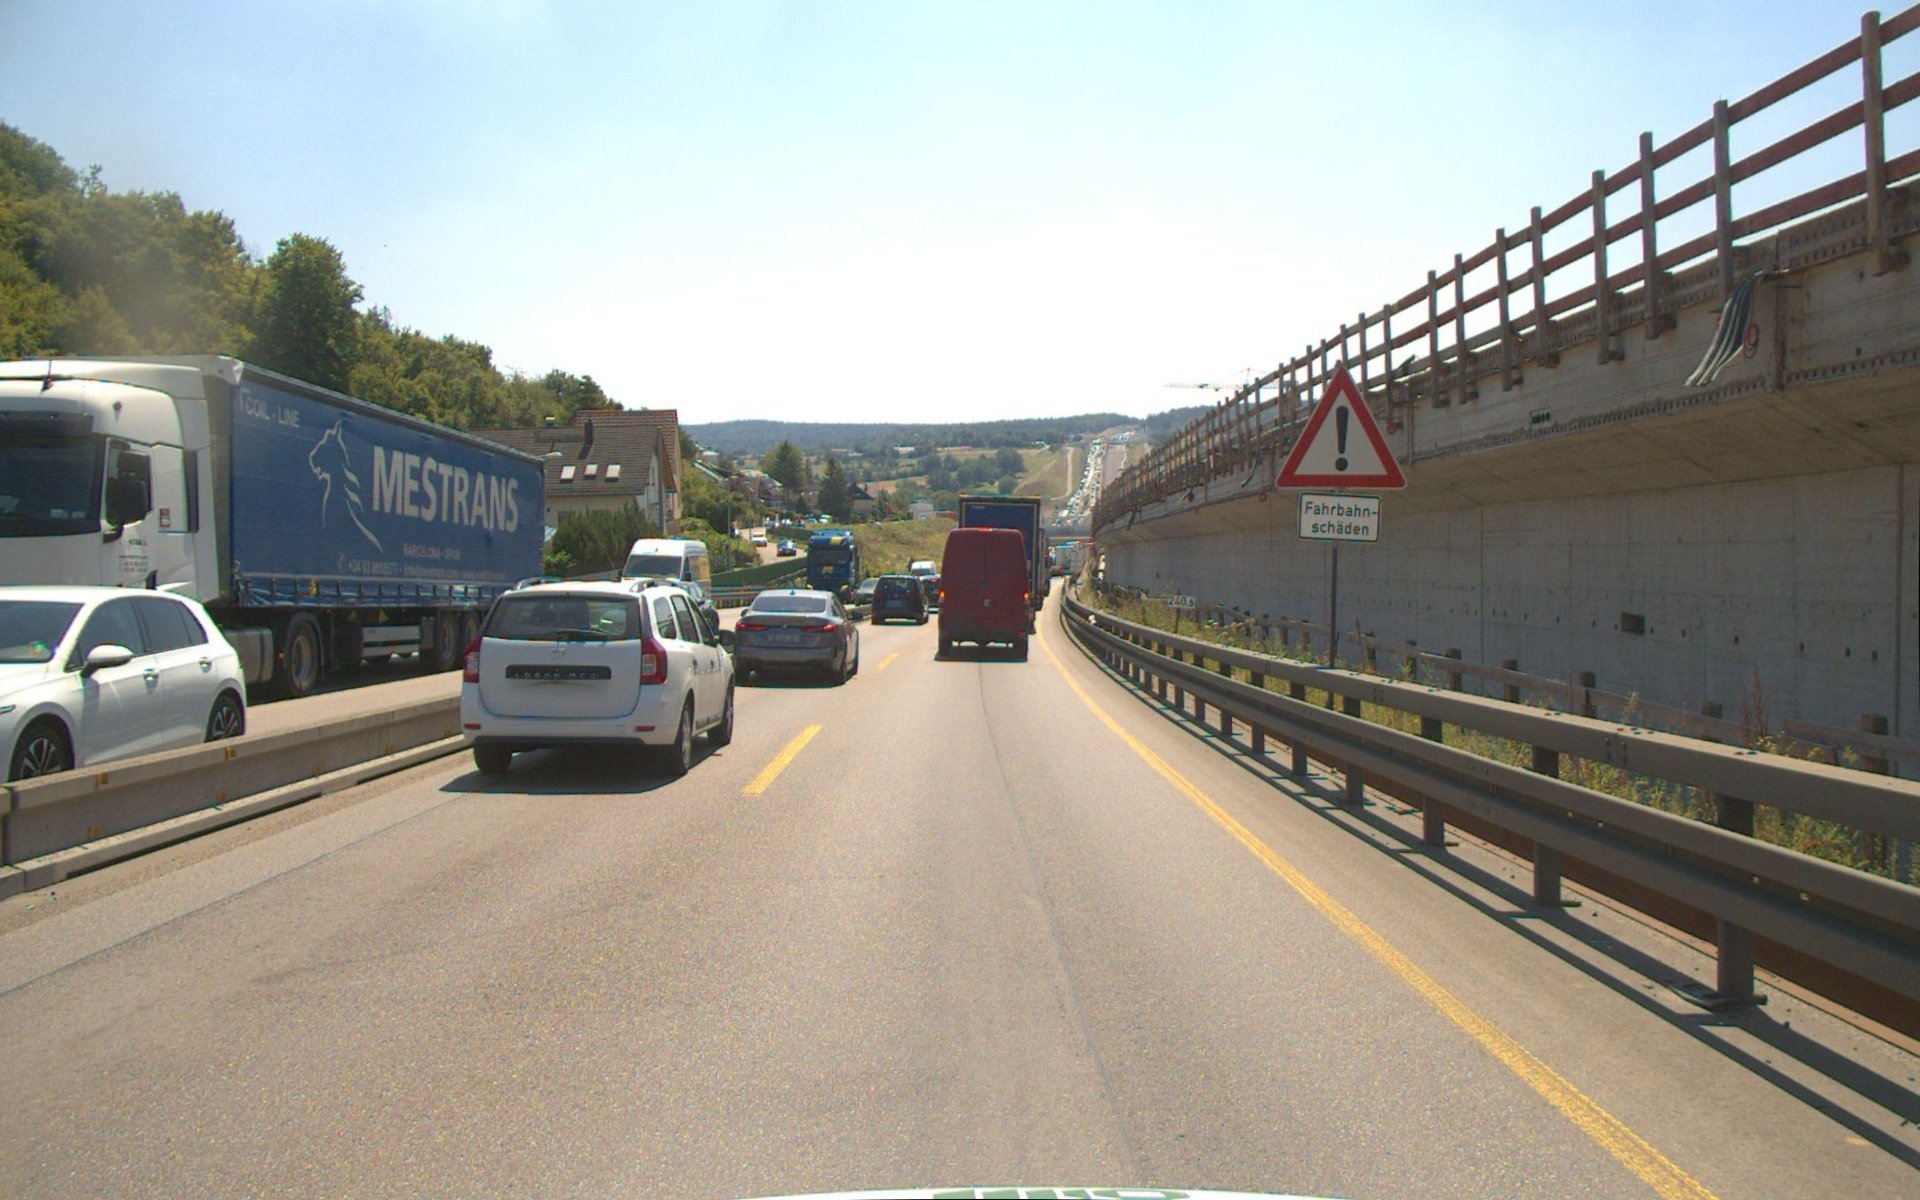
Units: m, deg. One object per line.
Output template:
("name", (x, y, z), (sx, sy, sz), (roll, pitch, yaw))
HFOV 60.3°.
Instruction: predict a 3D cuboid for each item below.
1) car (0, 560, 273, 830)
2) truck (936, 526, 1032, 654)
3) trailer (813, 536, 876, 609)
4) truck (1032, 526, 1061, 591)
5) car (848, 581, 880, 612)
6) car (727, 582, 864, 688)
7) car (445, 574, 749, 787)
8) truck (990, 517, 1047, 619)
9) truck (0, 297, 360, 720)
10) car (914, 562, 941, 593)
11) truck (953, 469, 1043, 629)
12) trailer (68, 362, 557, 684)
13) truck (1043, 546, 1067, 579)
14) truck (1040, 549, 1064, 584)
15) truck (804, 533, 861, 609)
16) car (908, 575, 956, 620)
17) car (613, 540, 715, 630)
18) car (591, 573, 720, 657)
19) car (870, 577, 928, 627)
("car", (-6.396, 0.525, 11.378), (1.637, 1.562, 4.190), (0, 1, -1))
("truck", (0.528, -0.181, 35.818), (1.952, 2.624, 4.000), (0, -1, 1))
("trailer", (-6.716, -1.499, 97.787), (2.456, 4.034, 11.402), (0, 0, 3))
("truck", (6.100, -2.887, 116.835), (1.951, 4.458, 4.002), (0, -1, 4))
("car", (-4.718, -0.196, 81.737), (1.513, 1.489, 4.626), (0, 1, -3))
("car", (-2.575, 0.539, 26.705), (1.758, 1.511, 4.049), (2, -1, 0))
("car", (-2.941, 0.605, 14.288), (1.618, 1.509, 4.266), (-2, 0, 0))
("truck", (2.985, -1.491, 85.203), (2.728, 4.900, 9.686), (0, -1, 2))
("truck", (-10.042, -0.939, 19.718), (3.070, 4.151, 6.881), (0, 0, 2))
("car", (-2.815, -1.968, 145.386), (1.952, 2.551, 5.517), (0, -1, 3))
("truck", (1.309, -1.513, 55.712), (2.728, 4.900, 9.686), (0, -1, 2))
("trailer", (-9.819, -1.054, 27.288), (3.070, 4.151, 11.822), (0, 1, 2))
("truck", (13.957, -5.444, 243.299), (3.394, 4.458, 8.561), (0, -1, 4))
("truck", (12.391, -4.489, 222.165), (3.004, 4.458, 8.561), (0, -1, 4))
("truck", (-6.999, -1.534, 91.386), (2.456, 4.034, 5.176), (0, -1, 3))
("car", (-1.167, -0.083, 70.421), (1.693, 1.870, 4.002), (0, -1, 4))
("car", (-9.172, -0.491, 51.805), (1.964, 2.649, 5.981), (0, 1, 2))
("car", (-6.070, 0.251, 33.463), (1.813, 1.573, 4.558), (0, 1, -1))
("car", (-2.074, 0.098, 56.816), (1.773, 1.636, 3.719), (0, -1, 1))
